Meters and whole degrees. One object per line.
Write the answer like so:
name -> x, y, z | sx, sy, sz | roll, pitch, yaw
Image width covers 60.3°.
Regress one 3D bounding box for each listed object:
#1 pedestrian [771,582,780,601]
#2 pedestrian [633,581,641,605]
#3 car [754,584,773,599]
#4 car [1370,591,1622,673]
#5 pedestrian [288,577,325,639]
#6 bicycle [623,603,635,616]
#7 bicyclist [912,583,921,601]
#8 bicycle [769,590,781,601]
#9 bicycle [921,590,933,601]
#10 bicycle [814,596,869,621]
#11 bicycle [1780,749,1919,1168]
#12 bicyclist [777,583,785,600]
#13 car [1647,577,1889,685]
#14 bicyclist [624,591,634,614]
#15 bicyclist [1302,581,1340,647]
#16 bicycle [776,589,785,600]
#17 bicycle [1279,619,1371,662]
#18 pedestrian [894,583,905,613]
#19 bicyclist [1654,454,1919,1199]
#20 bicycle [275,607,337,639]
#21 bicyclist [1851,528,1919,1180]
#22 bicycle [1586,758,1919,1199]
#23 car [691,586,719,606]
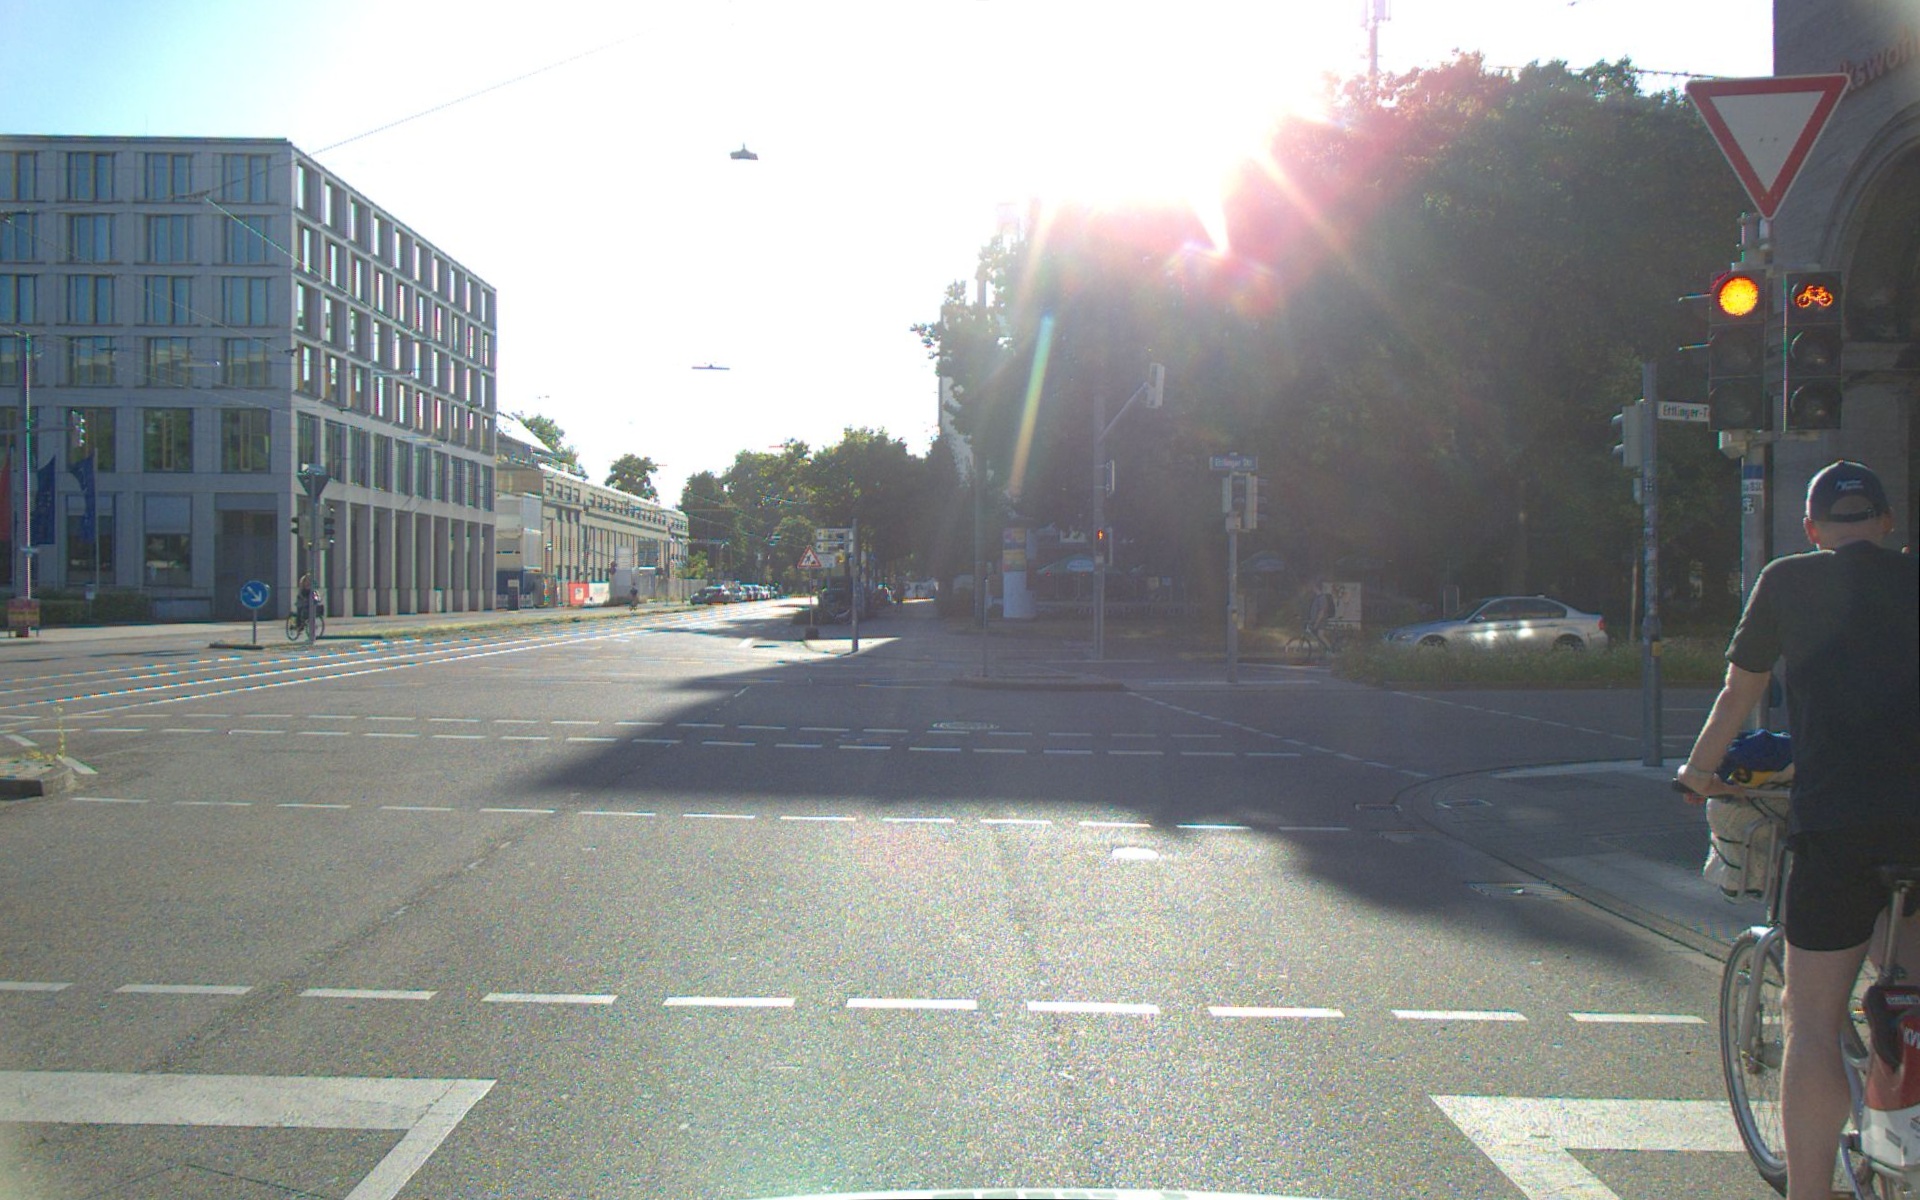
pedestrian -> -20.328, -0.933, 181.964 | 0.735, 2.099, 1.050 | 1, -1, 5
pedestrian -> -25.904, -0.593, 132.683 | 0.576, 1.922, 0.478 | 1, -1, -1
car -> -23.062, -1.017, 194.347 | 1.954, 1.673, 3.997 | 0, 0, -4
car -> 10.854, 0.630, 33.718 | 4.483, 1.543, 2.000 | 1, 0, -1
pedestrian -> -17.502, 0.210, 44.283 | 0.727, 1.623, 0.573 | 0, 0, 26
bicycle -> -21.929, 0.617, 109.587 | 0.484, 0.854, 1.156 | -1, 0, 2
bicyclist -> -5.136, -0.968, 194.599 | 0.875, 2.049, 0.746 | 1, -1, -12
bicycle -> -20.328, -0.491, 181.922 | 0.735, 1.226, 3.109 | 1, 0, 5
bicycle -> -3.866, -0.540, 194.944 | 0.875, 1.240, 2.785 | 1, 0, -12
bicycle -> -4.826, 0.338, 67.136 | 2.201, 0.956, 0.653 | 0, 0, -6
bicycle -> 2.889, 1.010, 4.382 | 0.570, 1.062, 1.747 | 0, 0, 0
bicyclist -> -20.200, -0.955, 186.392 | 0.735, 1.953, 1.214 | 1, 0, -2
car -> 16.233, 0.610, 33.373 | 3.905, 2.049, 2.000 | 1, 0, 0
bicyclist -> -21.937, 0.156, 109.607 | 0.484, 1.525, 0.666 | 0, 0, 2
bicyclist -> 7.960, 0.305, 36.485 | 0.731, 1.431, 0.702 | 1, -1, 6
bicycle -> -20.216, -0.587, 186.509 | 0.735, 1.226, 3.107 | 1, 0, -2
bicycle -> 8.039, 0.880, 36.478 | 1.902, 0.905, 0.718 | 1, 0, 5
pedestrian -> -3.555, -0.125, 97.648 | 0.566, 1.719, 0.584 | 0, 0, -8
bicyclist -> 2.146, 0.567, 3.894 | 0.610, 1.745, 0.912 | 0, 0, -3
bicycle -> -17.526, 0.608, 44.303 | 1.679, 0.837, 0.573 | 0, 0, 27
bicyclist -> 2.889, 0.690, 4.346 | 0.572, 1.769, 0.950 | 0, 0, 0
bicycle -> 2.143, 0.994, 3.906 | 0.610, 1.062, 1.746 | 0, 0, -2
car -> -21.639, -0.342, 140.601 | 1.954, 1.627, 3.997 | 0, 0, -3
